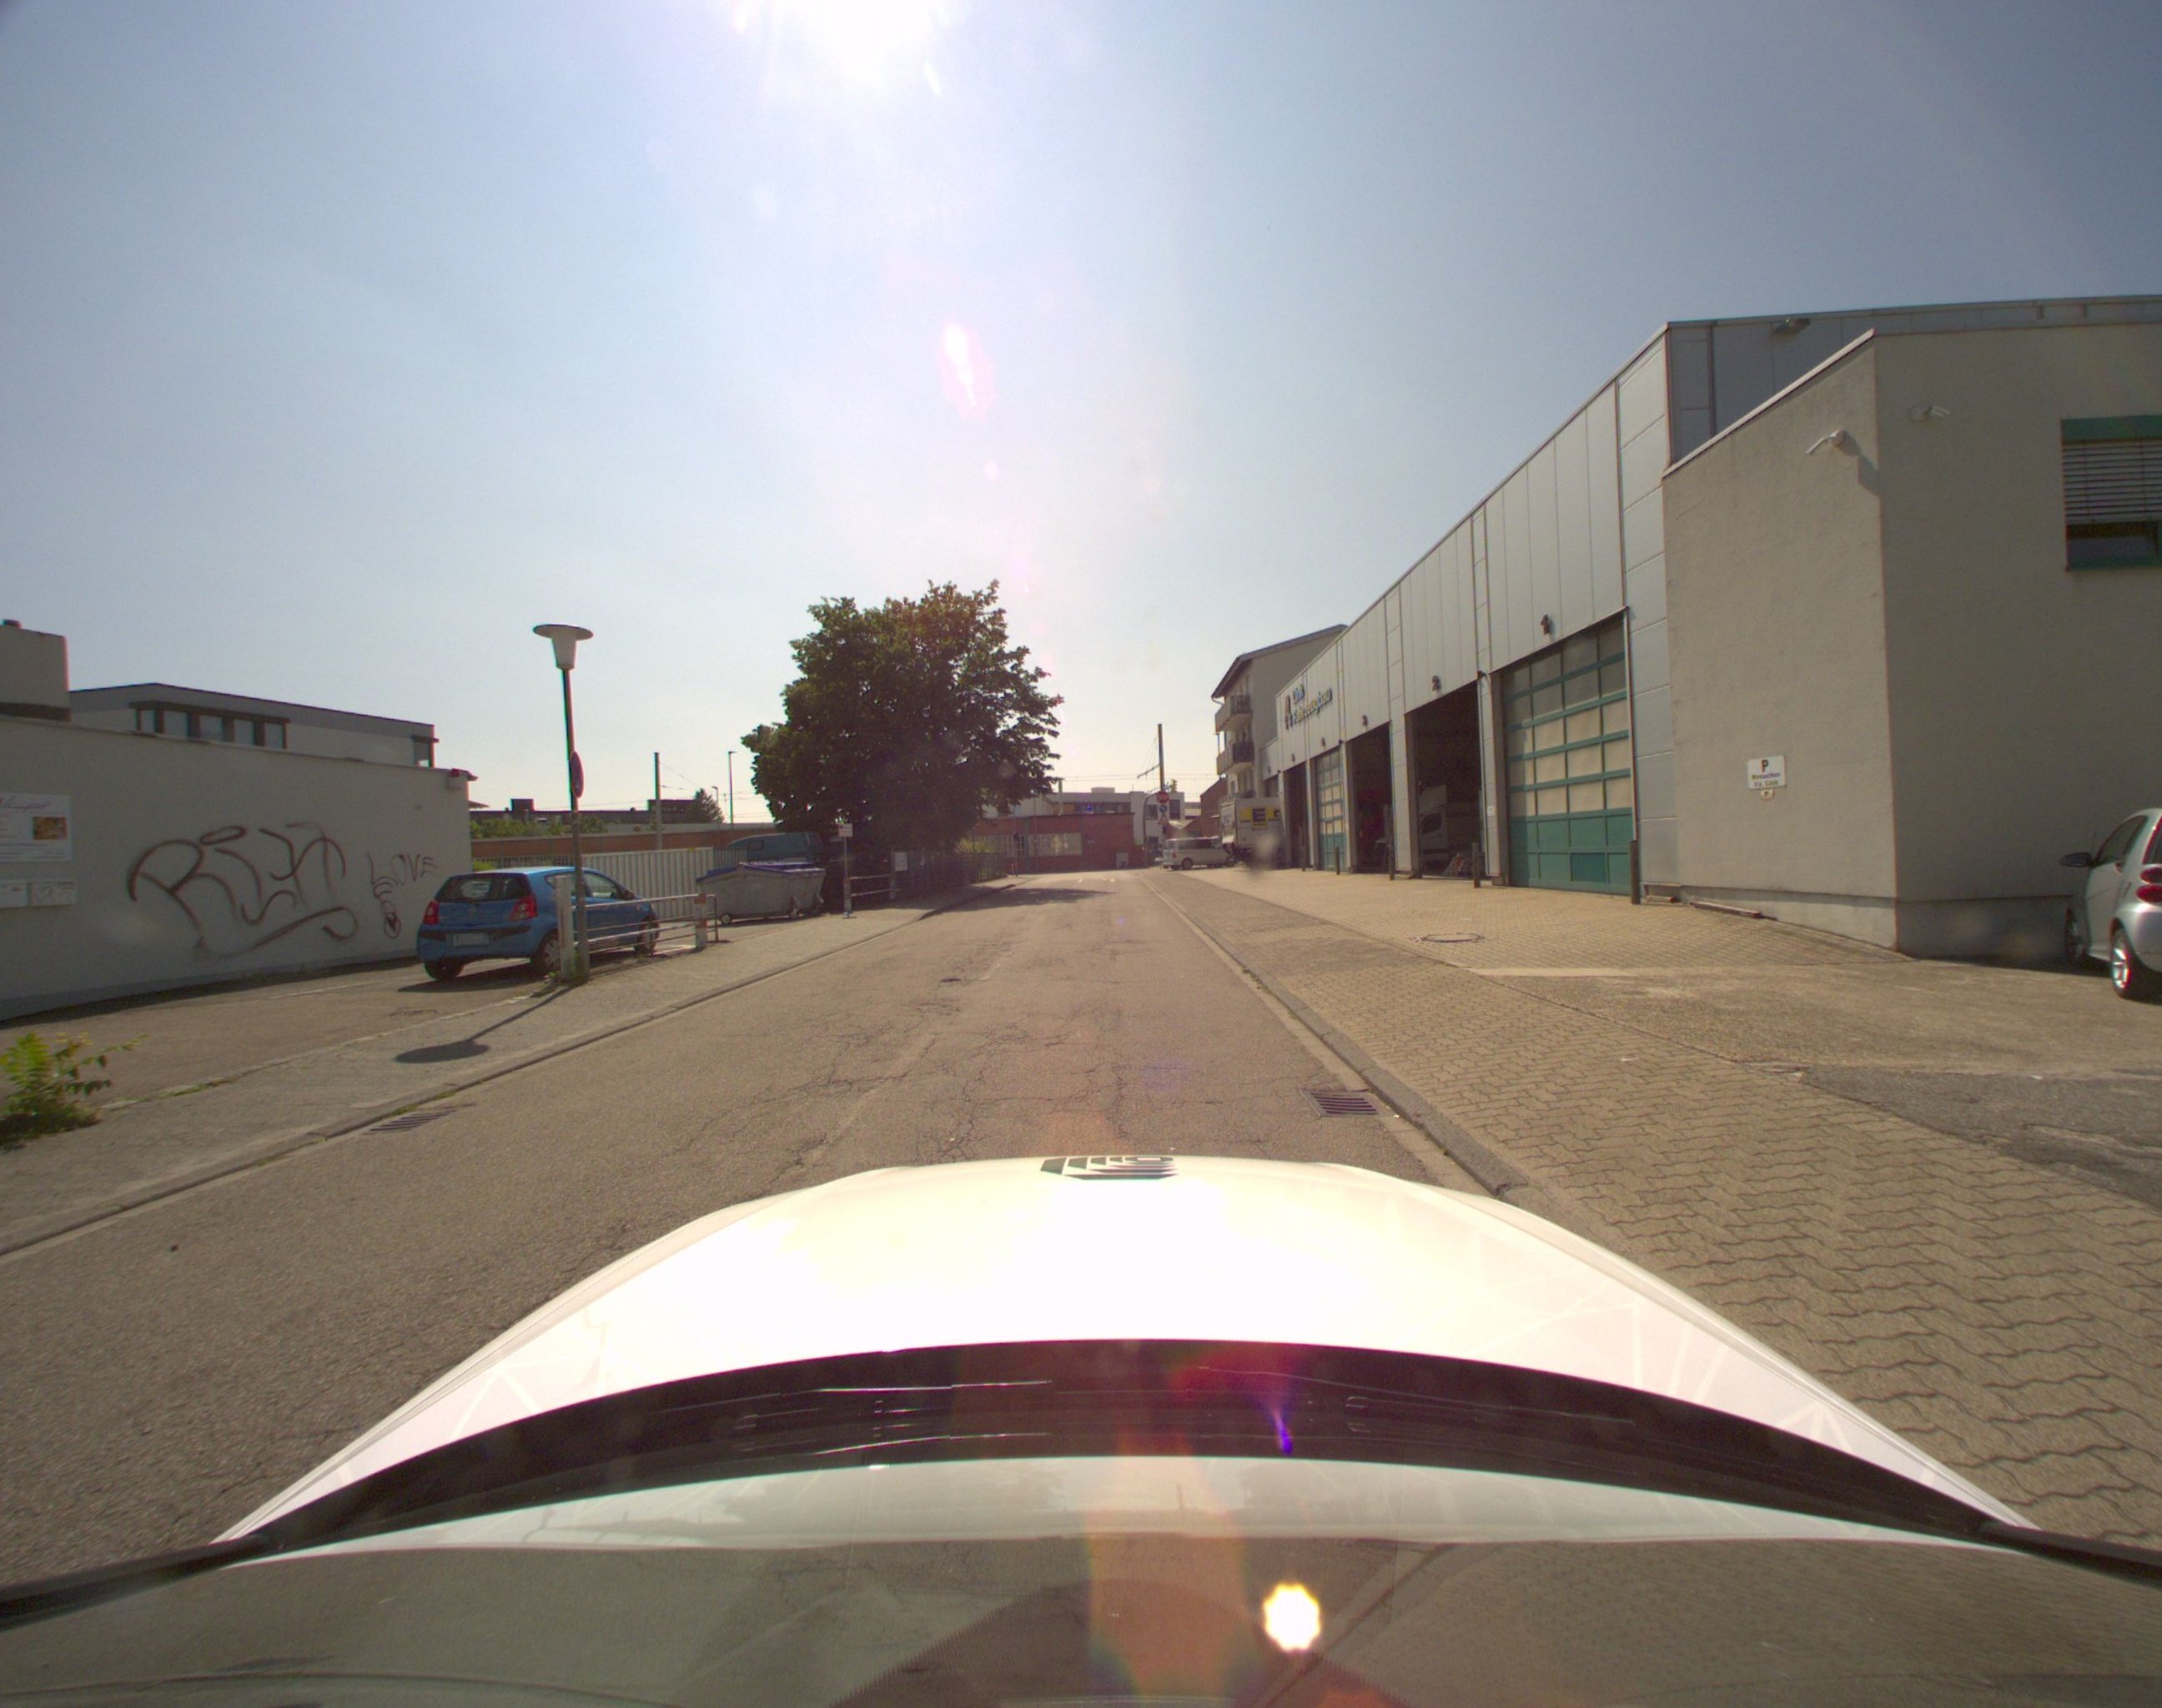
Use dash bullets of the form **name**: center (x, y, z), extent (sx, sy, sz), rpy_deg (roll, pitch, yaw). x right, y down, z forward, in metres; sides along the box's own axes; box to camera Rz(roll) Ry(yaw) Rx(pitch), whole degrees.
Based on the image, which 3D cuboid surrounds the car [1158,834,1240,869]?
- **car**: center (7.411, -0.184, 51.102), extent (4.666, 1.957, 1.905), rpy_deg (-2, 0, -17)

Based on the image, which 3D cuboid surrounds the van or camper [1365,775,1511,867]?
- **van or camper**: center (13.852, -1.250, 31.771), extent (4.743, 3.288, 1.999), rpy_deg (-2, 0, -2)

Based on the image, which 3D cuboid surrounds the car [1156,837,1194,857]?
- **car**: center (11.093, -0.878, 96.088), extent (4.012, 2.189, 1.981), rpy_deg (-2, 0, -30)

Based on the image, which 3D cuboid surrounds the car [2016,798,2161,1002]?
- **car**: center (9.861, 0.263, 7.153), extent (1.756, 1.539, 3.725), rpy_deg (-3, 0, 43)

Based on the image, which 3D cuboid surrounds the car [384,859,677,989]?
- **car**: center (-7.970, 0.912, 12.280), extent (1.808, 1.530, 3.675), rpy_deg (-3, 0, 0)

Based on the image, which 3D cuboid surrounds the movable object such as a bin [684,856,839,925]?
- **movable object such as a bin**: center (-8.074, 0.885, 20.881), extent (2.612, 1.510, 2.734), rpy_deg (-3, 0, 7)

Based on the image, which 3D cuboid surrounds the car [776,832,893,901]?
- **car**: center (-9.902, 0.489, 32.909), extent (4.072, 2.513, 1.777), rpy_deg (-2, 0, 0)

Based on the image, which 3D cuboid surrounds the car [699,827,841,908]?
- **car**: center (-10.657, 0.447, 28.101), extent (4.072, 2.513, 1.777), rpy_deg (-2, 0, 0)

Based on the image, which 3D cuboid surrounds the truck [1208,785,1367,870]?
- **truck**: center (10.714, -1.371, 42.631), extent (7.346, 3.645, 2.764), rpy_deg (-5, 0, -4)
